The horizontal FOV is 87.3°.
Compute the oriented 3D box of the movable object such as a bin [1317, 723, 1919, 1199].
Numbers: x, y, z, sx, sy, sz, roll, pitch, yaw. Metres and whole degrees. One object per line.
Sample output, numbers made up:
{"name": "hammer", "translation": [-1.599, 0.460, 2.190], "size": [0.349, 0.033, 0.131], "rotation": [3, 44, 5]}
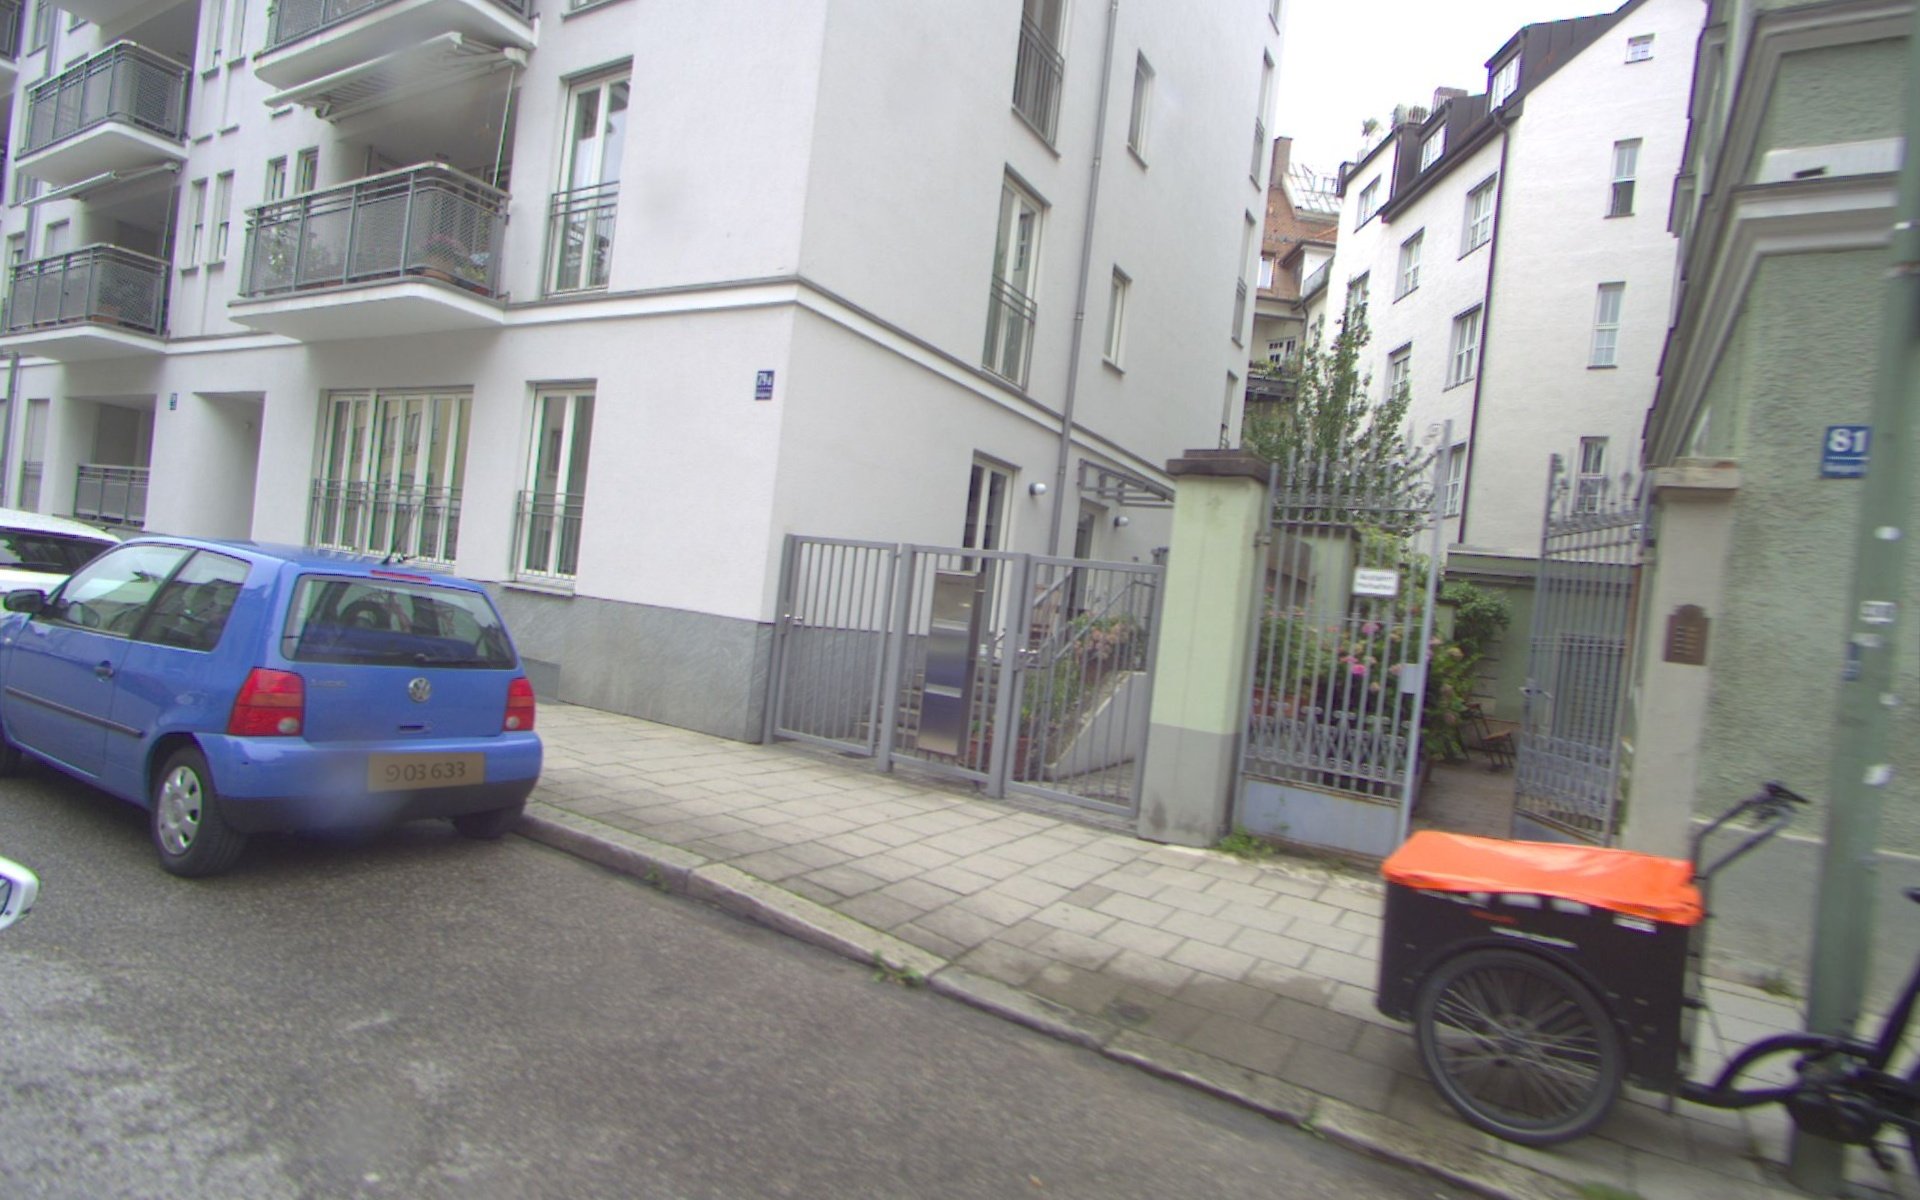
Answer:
{"name": "movable object such as a bin", "translation": [2.442, 1.209, 3.284], "size": [2.128, 1.209, 1.020], "rotation": [7, 2, 33]}

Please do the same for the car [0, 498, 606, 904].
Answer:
{"name": "car", "translation": [-3.987, 0.355, 5.578], "size": [3.656, 1.439, 1.719], "rotation": [7, -1, 30]}

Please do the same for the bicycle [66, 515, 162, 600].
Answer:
{"name": "bicycle", "translation": [-12.737, -0.654, 15.126], "size": [1.780, 1.113, 0.568], "rotation": [7, 4, 32]}

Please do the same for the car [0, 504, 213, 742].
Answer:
{"name": "car", "translation": [-7.762, -0.040, 7.611], "size": [4.301, 1.484, 1.668], "rotation": [7, -2, 29]}

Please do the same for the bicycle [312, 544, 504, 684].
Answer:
{"name": "bicycle", "translation": [-5.727, 0.134, 10.403], "size": [1.941, 1.186, 0.803], "rotation": [7, 0, 32]}
